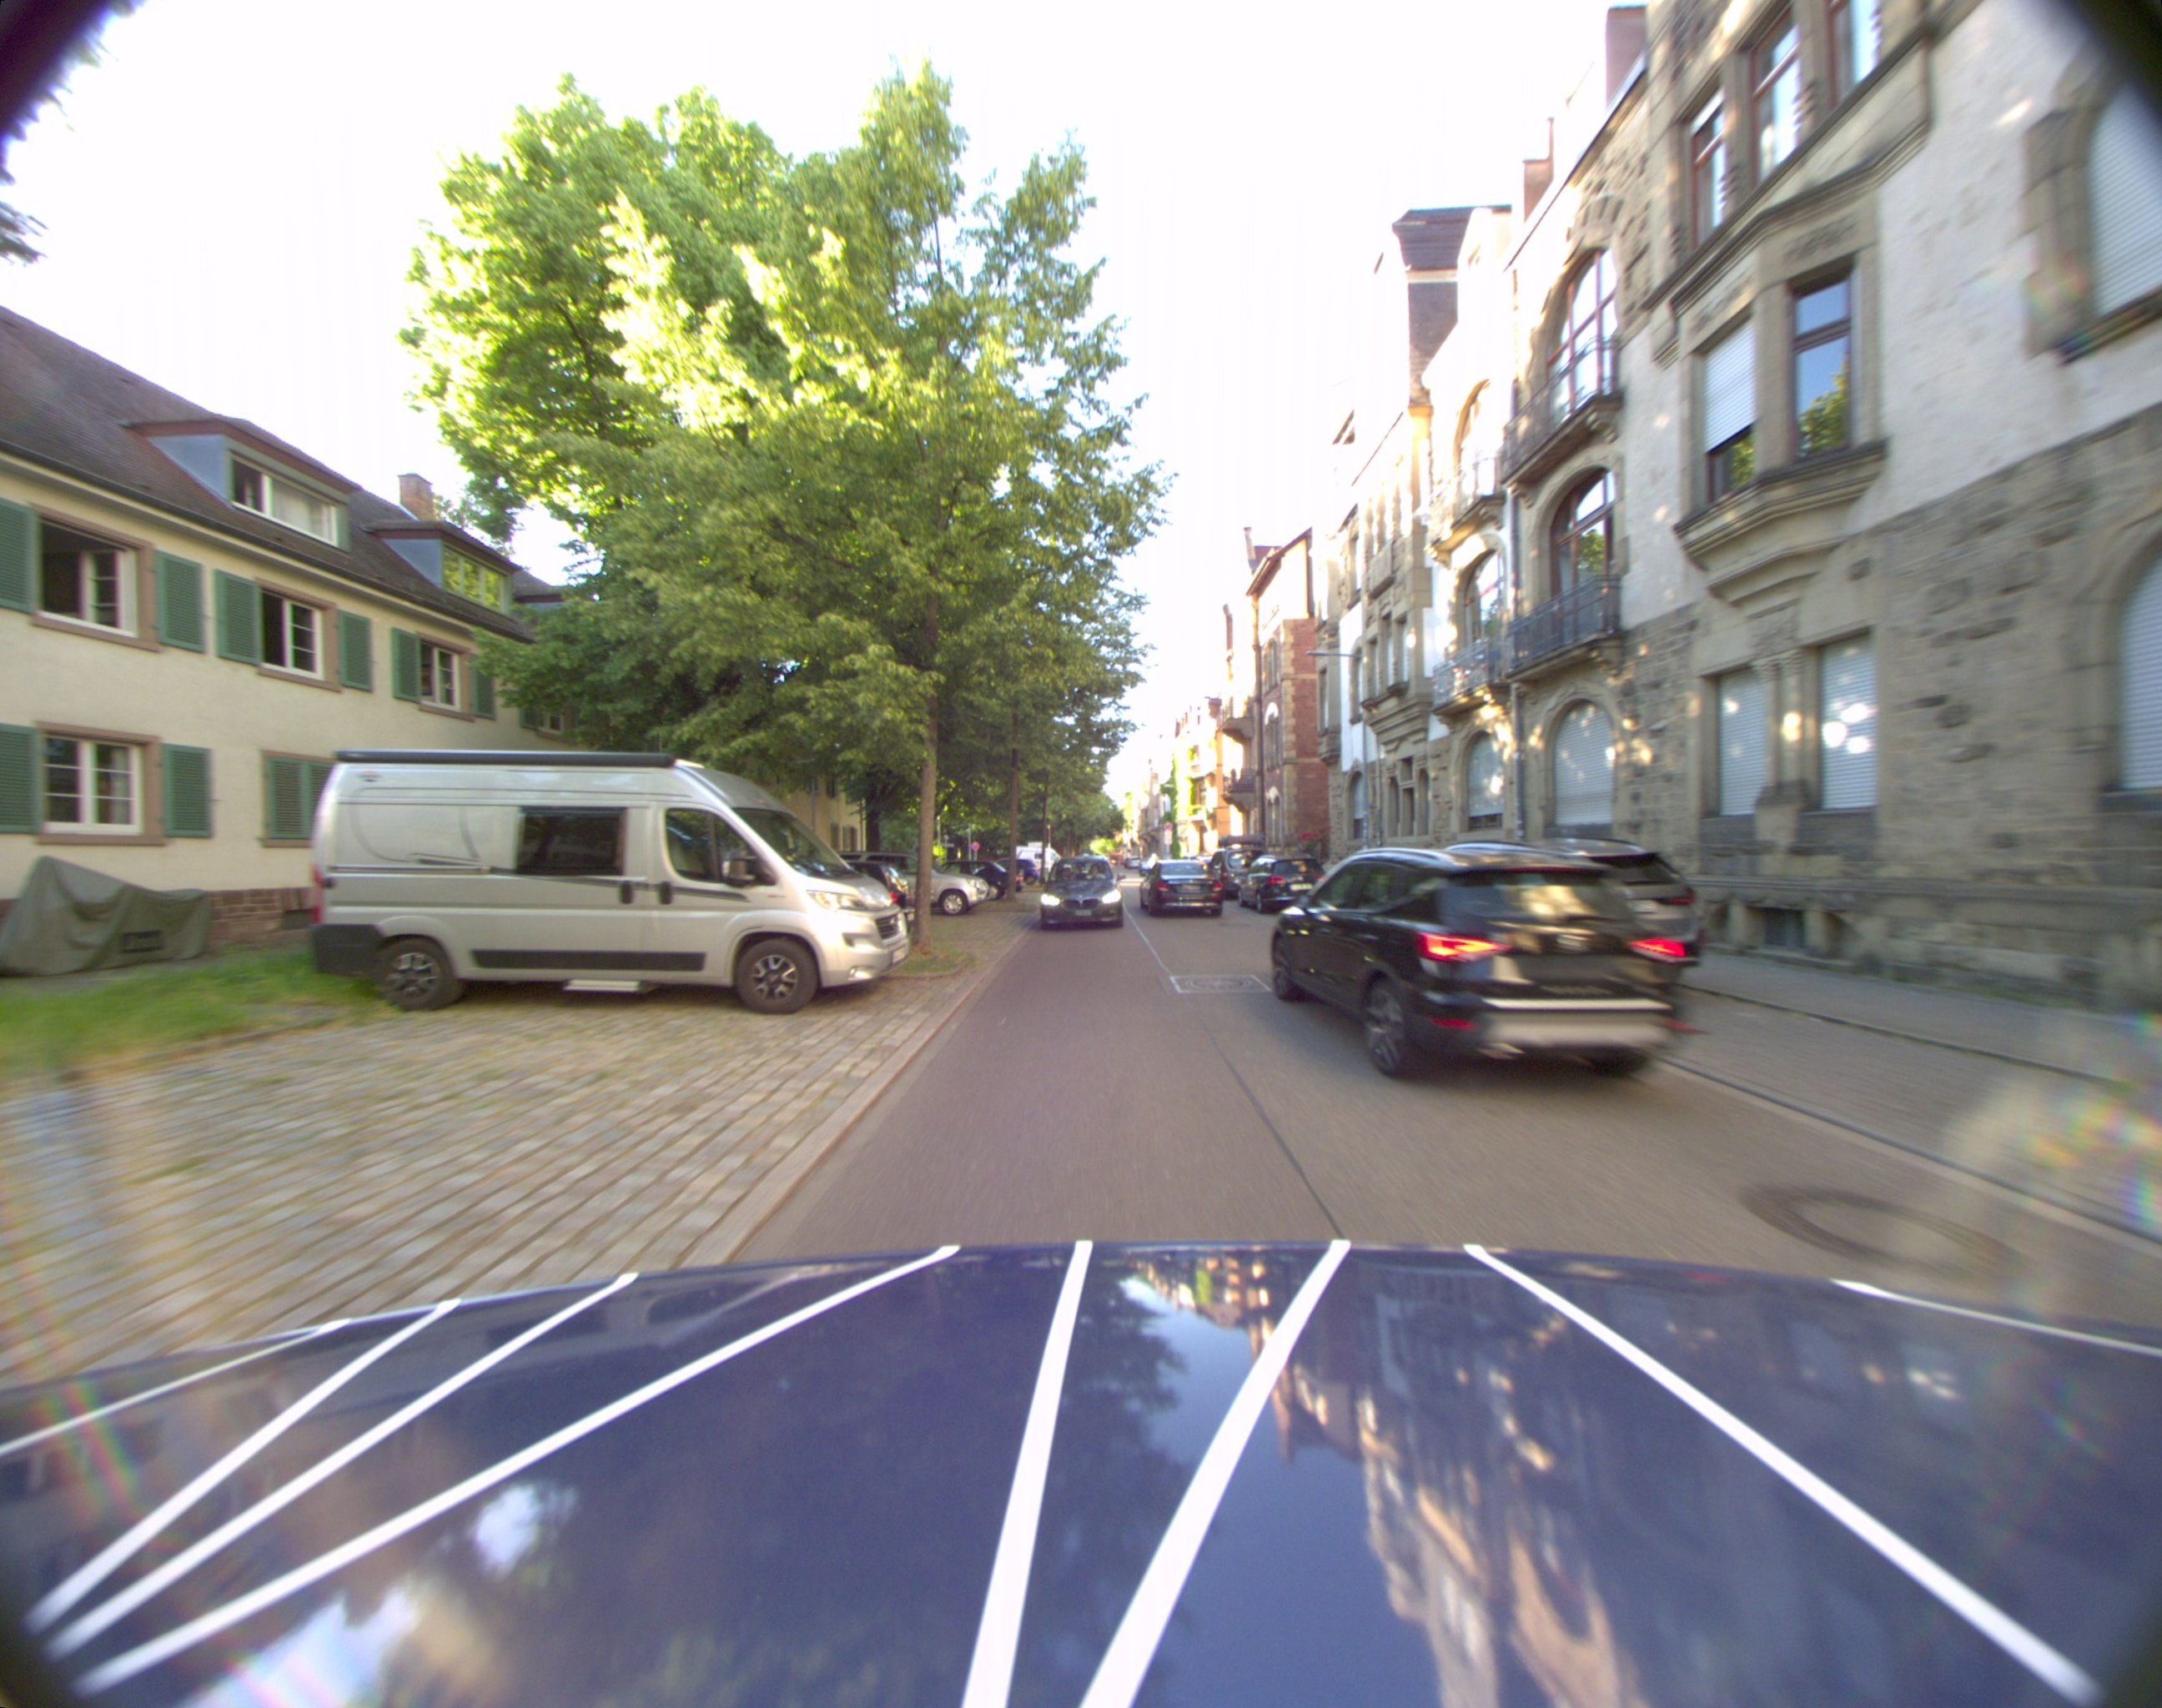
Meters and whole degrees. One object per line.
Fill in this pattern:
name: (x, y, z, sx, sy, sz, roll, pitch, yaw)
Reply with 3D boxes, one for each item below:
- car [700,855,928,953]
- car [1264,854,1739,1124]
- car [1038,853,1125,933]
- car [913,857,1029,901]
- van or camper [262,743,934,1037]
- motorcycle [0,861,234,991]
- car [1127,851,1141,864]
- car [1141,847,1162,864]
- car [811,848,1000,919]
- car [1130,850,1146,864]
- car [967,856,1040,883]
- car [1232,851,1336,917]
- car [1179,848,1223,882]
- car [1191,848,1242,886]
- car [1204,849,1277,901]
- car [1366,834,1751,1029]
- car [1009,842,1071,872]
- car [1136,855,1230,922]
car: (-4.523, 0.808, 13.249, 3.260, 1.454, 1.825, 2, 0, 2)
car: (2.763, 0.748, 6.047, 1.631, 1.469, 3.759, 0, 0, -1)
car: (0.082, 0.824, 18.024, 1.753, 1.596, 4.551, -2, 0, 2)
car: (-3.953, 0.891, 27.711, 3.997, 1.543, 1.555, 0, 0, 1)
van or camper: (-4.703, 0.328, 8.122, 5.733, 2.502, 2.162, 2, 1, 0)
motorcycle: (-12.199, 0.830, 9.591, 0.660, 1.398, 2.016, -2, 1, 1)
car: (7.152, 0.479, 102.752, 1.710, 1.496, 3.629, -4, -1, 2)
car: (6.739, 0.169, 72.952, 1.686, 1.496, 3.629, -4, -1, 2)
car: (-4.586, 0.753, 20.459, 4.606, 1.706, 2.000, 1, 0, -1)
car: (7.087, 0.386, 95.095, 1.710, 1.496, 3.629, -4, -1, 2)
car: (-4.339, 0.842, 42.948, 3.998, 1.504, 1.572, 0, 0, -3)
car: (5.417, 0.731, 20.826, 1.774, 1.493, 4.211, -1, 2, 1)
car: (6.041, 0.561, 38.650, 1.633, 1.496, 3.856, -4, -1, 2)
car: (5.918, 0.574, 33.556, 1.633, 1.439, 3.856, -4, -1, 2)
car: (5.643, 0.687, 27.376, 1.774, 1.658, 4.212, -2, 1, 1)
car: (5.134, 0.704, 9.047, 1.881, 1.707, 4.339, -2, 0, 1)
car: (-3.659, 0.285, 68.751, 5.448, 2.646, 2.134, 0, 0, 1)
car: (2.625, 0.829, 20.559, 1.868, 1.454, 4.567, -2, 1, 0)
